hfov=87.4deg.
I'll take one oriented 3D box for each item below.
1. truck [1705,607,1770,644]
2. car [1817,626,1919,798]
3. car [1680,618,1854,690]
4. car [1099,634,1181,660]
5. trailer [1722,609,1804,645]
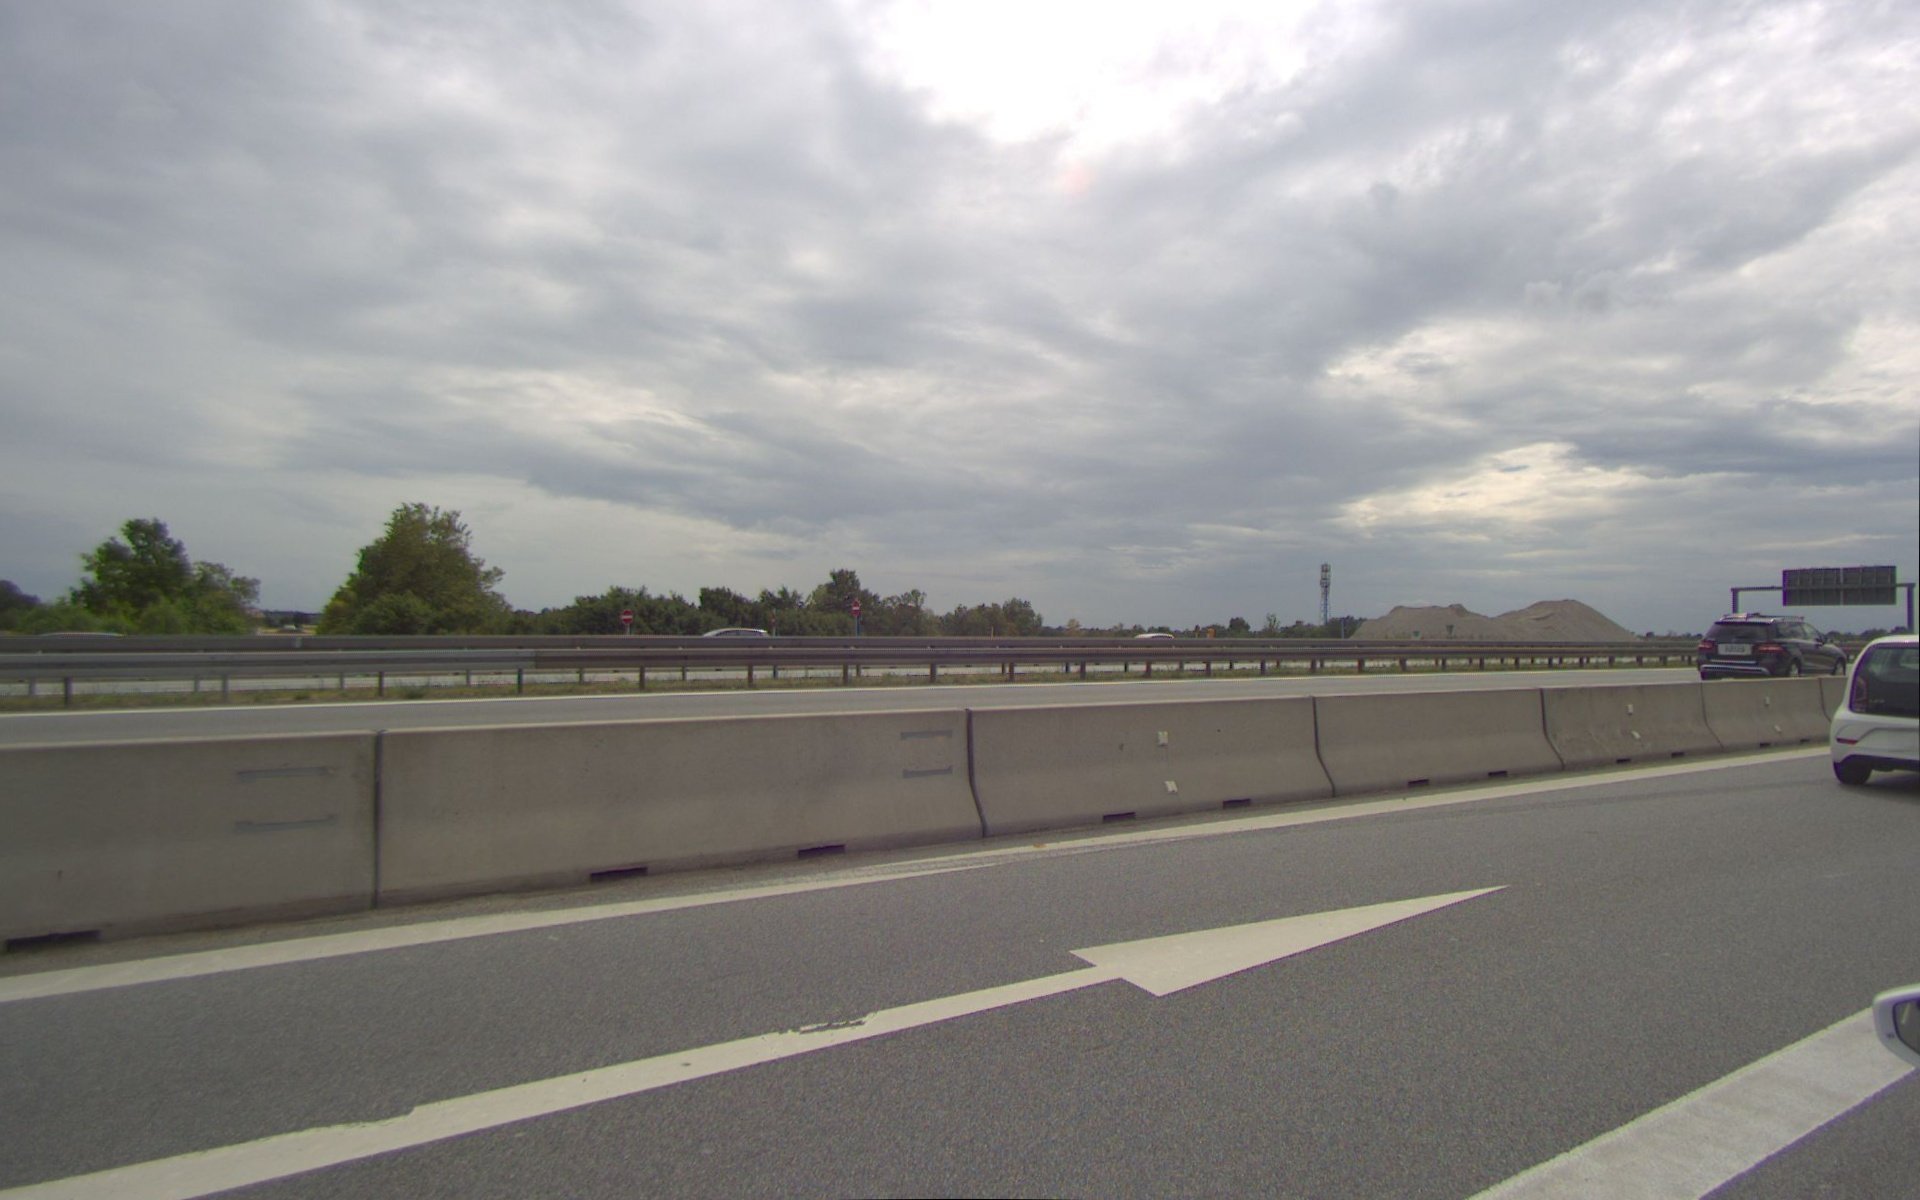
[{"bbox_3d":[73.898,2.444,95.452,5.558,3.374,3.134,1,-1,-31],"label":"truck"},{"bbox_3d":[10.033,1.037,9.725,3.493,1.503,1.578,2,-1,-30],"label":"car"},{"bbox_3d":[21.127,1.365,26.250,4.809,1.706,1.984,2,-1,-31],"label":"car"},{"bbox_3d":[8.997,2.329,50.018,3.962,1.208,1.677,2,-1,-33],"label":"car"},{"bbox_3d":[78.769,2.651,98.469,9.714,3.313,3.180,2,-1,-32],"label":"trailer"}]
